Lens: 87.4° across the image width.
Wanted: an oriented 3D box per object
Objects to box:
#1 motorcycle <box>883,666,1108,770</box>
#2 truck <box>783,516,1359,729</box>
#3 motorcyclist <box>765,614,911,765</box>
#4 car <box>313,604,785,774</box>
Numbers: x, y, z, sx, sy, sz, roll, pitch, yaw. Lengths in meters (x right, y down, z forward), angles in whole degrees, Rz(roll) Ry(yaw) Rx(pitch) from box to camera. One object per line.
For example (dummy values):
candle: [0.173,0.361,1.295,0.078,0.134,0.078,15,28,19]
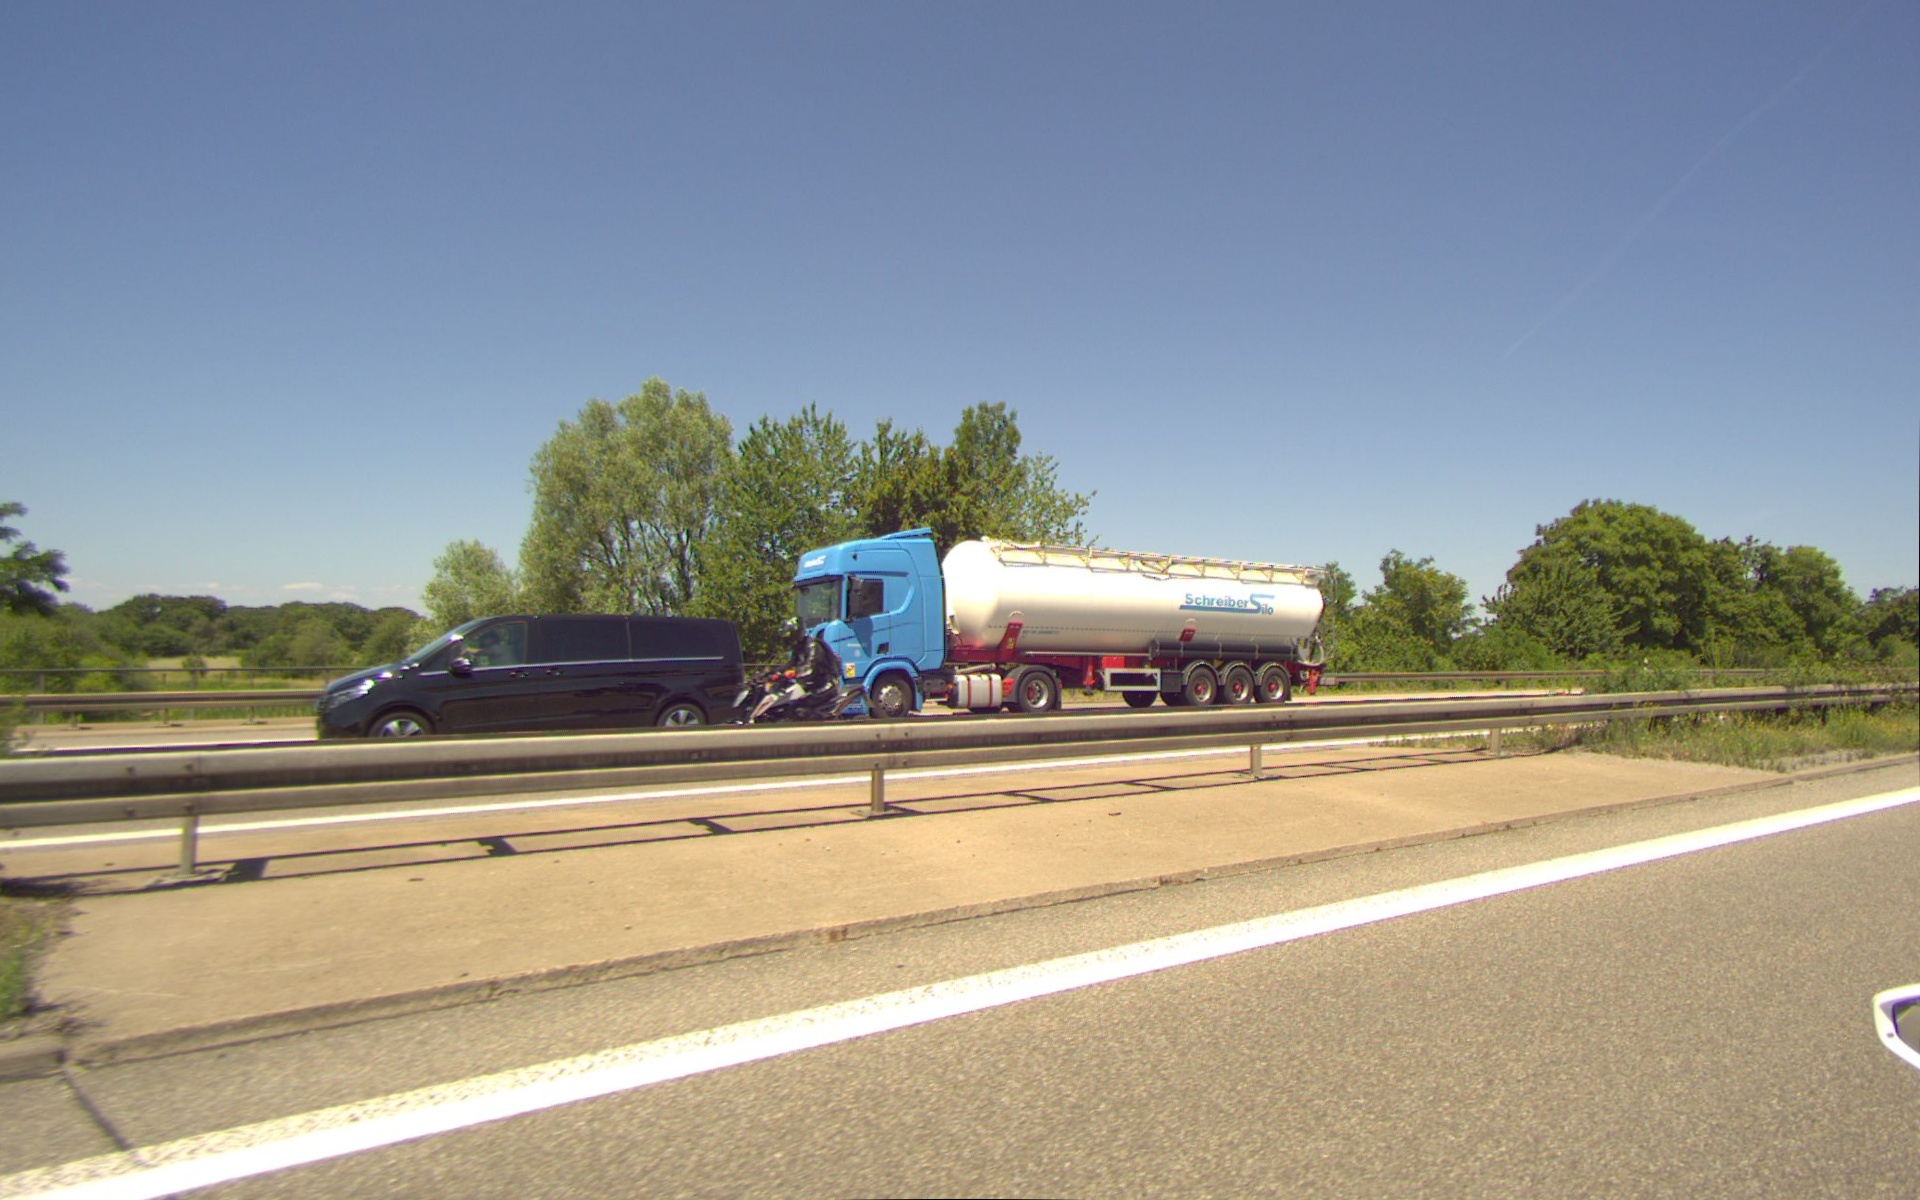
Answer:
motorcycle: [0.465,1.379,12.210,2.664,1.122,0.963,2,-4,-33]
truck: [3.611,0.744,24.675,15.758,4.105,2.715,2,-3,-32]
motorcyclist: [-1.349,0.965,11.086,1.320,1.540,0.967,2,-4,-33]
car: [-5.575,1.129,14.049,5.718,1.943,2.400,2,-3,-32]
